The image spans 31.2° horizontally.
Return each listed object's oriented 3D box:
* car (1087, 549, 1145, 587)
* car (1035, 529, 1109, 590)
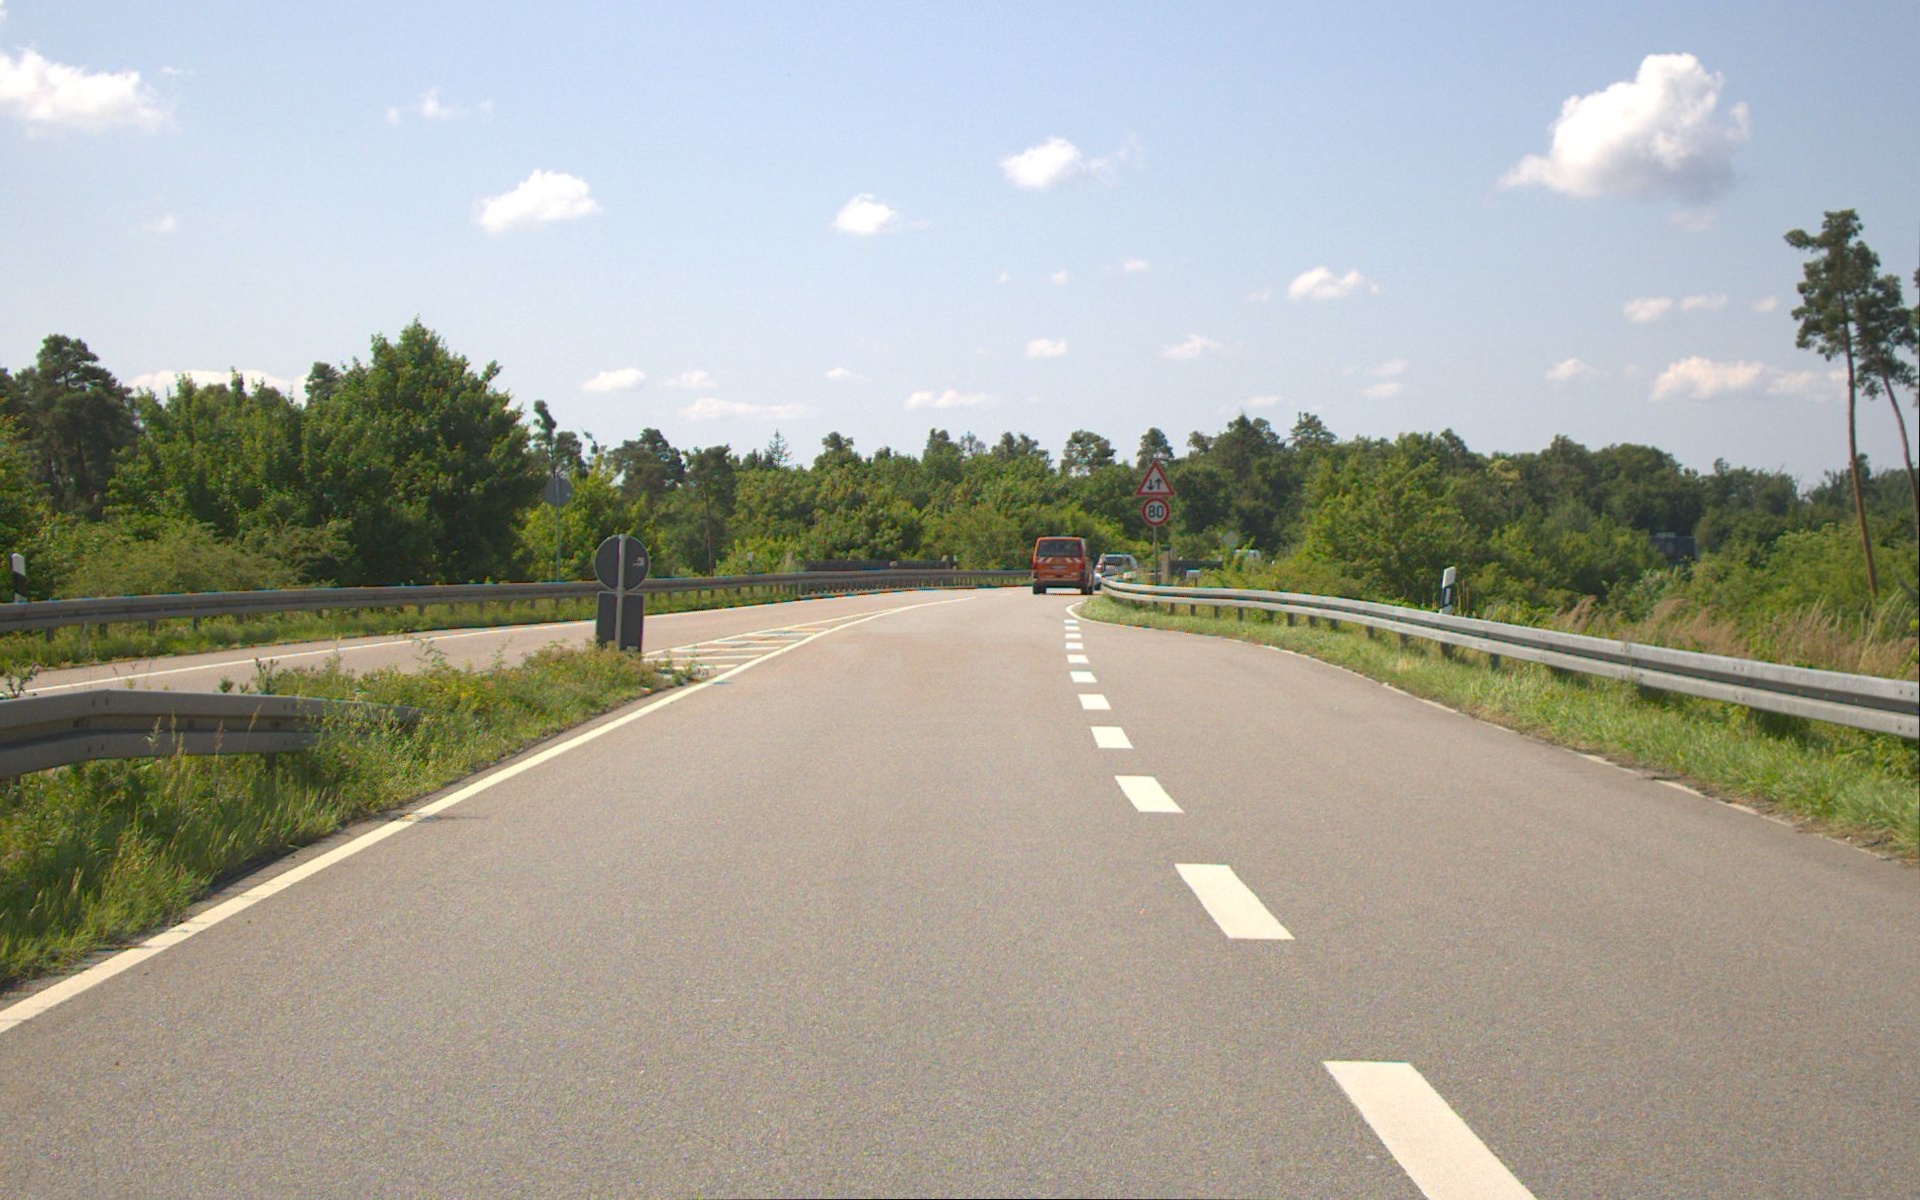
[{"bbox_3d":[6.314,-1.291,138.946,2.008,1.488,4.237,1,0,7],"label":"car"},{"bbox_3d":[3.855,-1.356,117.287,2.078,1.986,5.110,1,0,7],"label":"car"}]
